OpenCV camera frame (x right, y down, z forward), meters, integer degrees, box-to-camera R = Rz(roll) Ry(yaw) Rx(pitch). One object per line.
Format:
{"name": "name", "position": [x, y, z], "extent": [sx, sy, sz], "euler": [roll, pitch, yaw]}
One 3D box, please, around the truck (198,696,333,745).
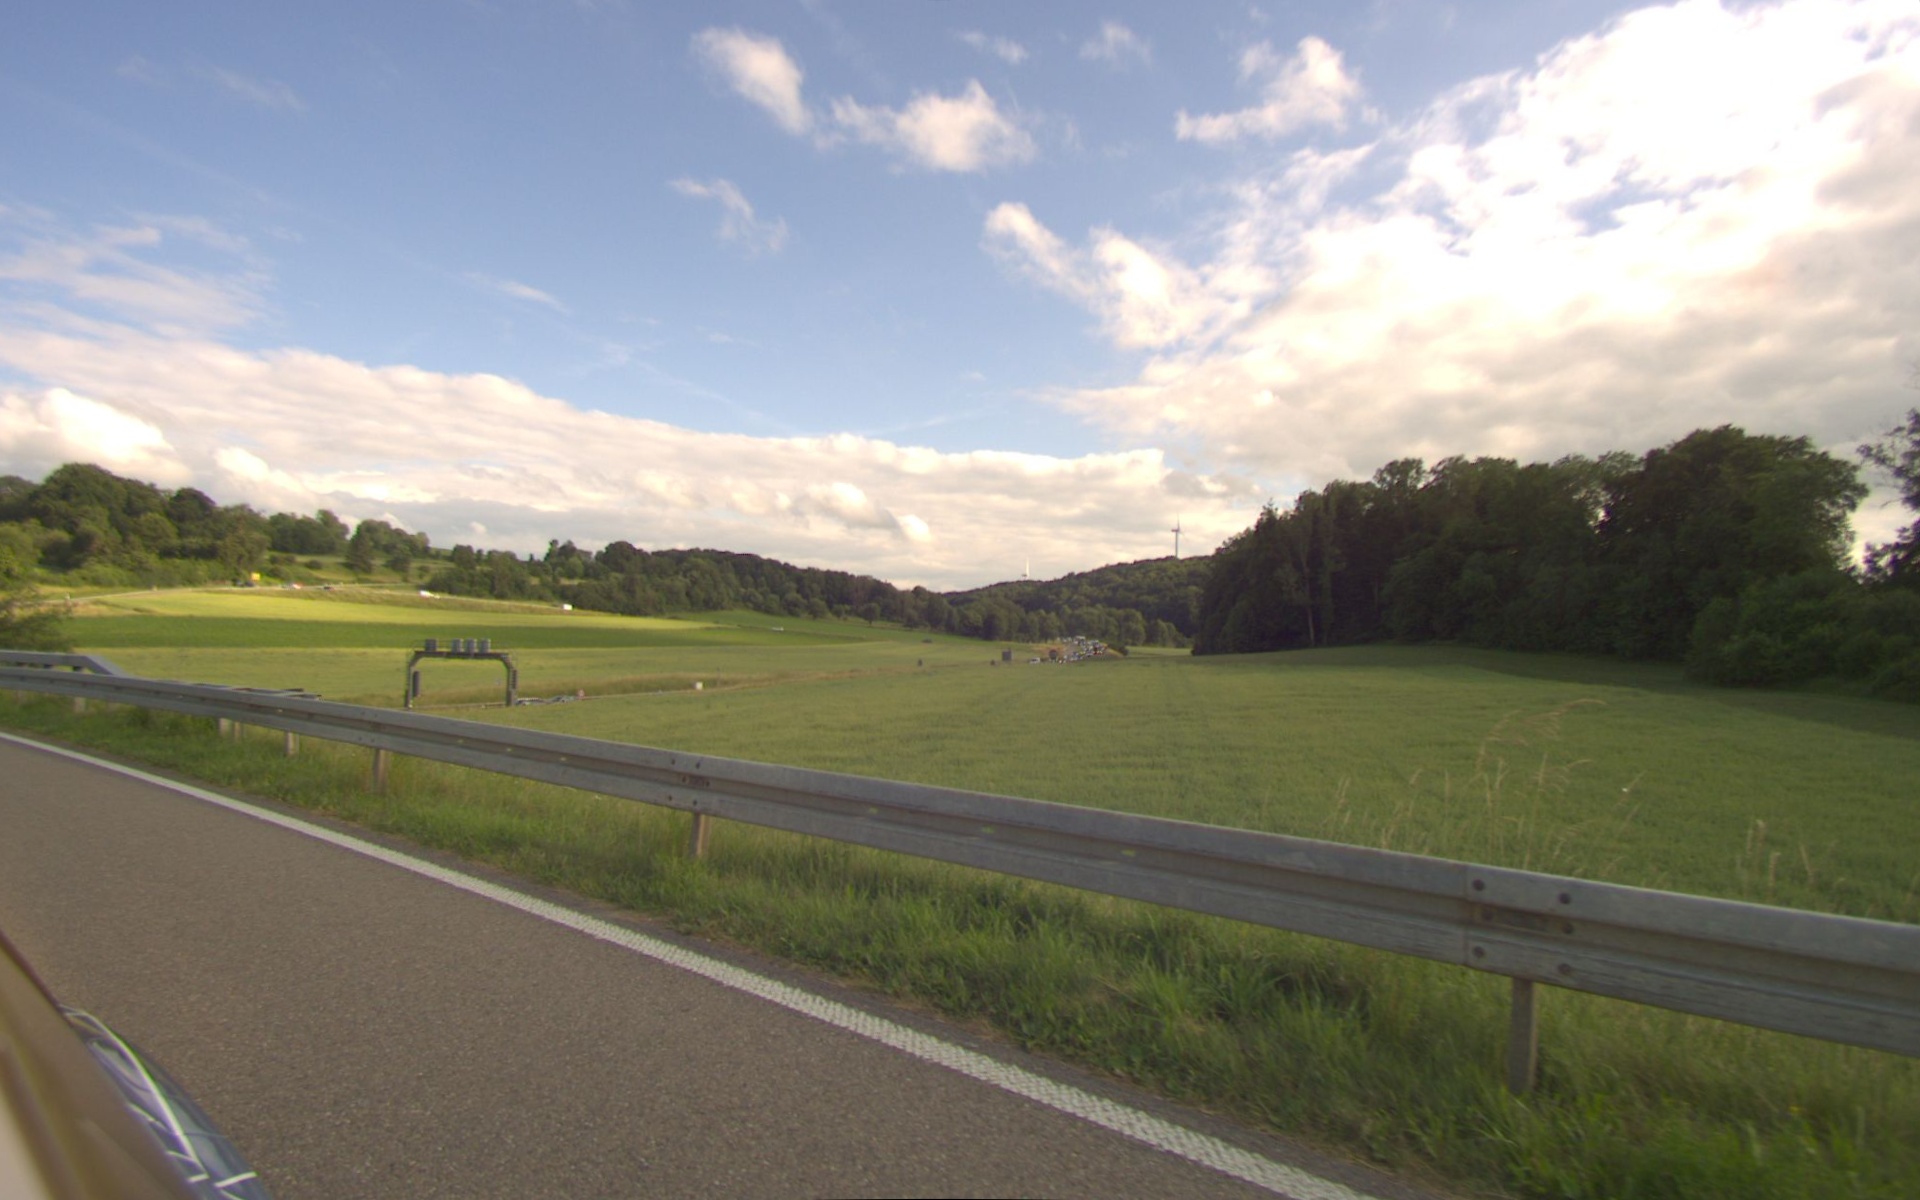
{"name": "truck", "position": [-53.615, 9.327, 78.457], "extent": [2.114, 3.431, 8.415], "euler": [1, -6, 27]}

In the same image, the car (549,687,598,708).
{"name": "car", "position": [-35.681, 9.019, 93.508], "extent": [1.819, 1.662, 3.964], "euler": [1, -2, 26]}
